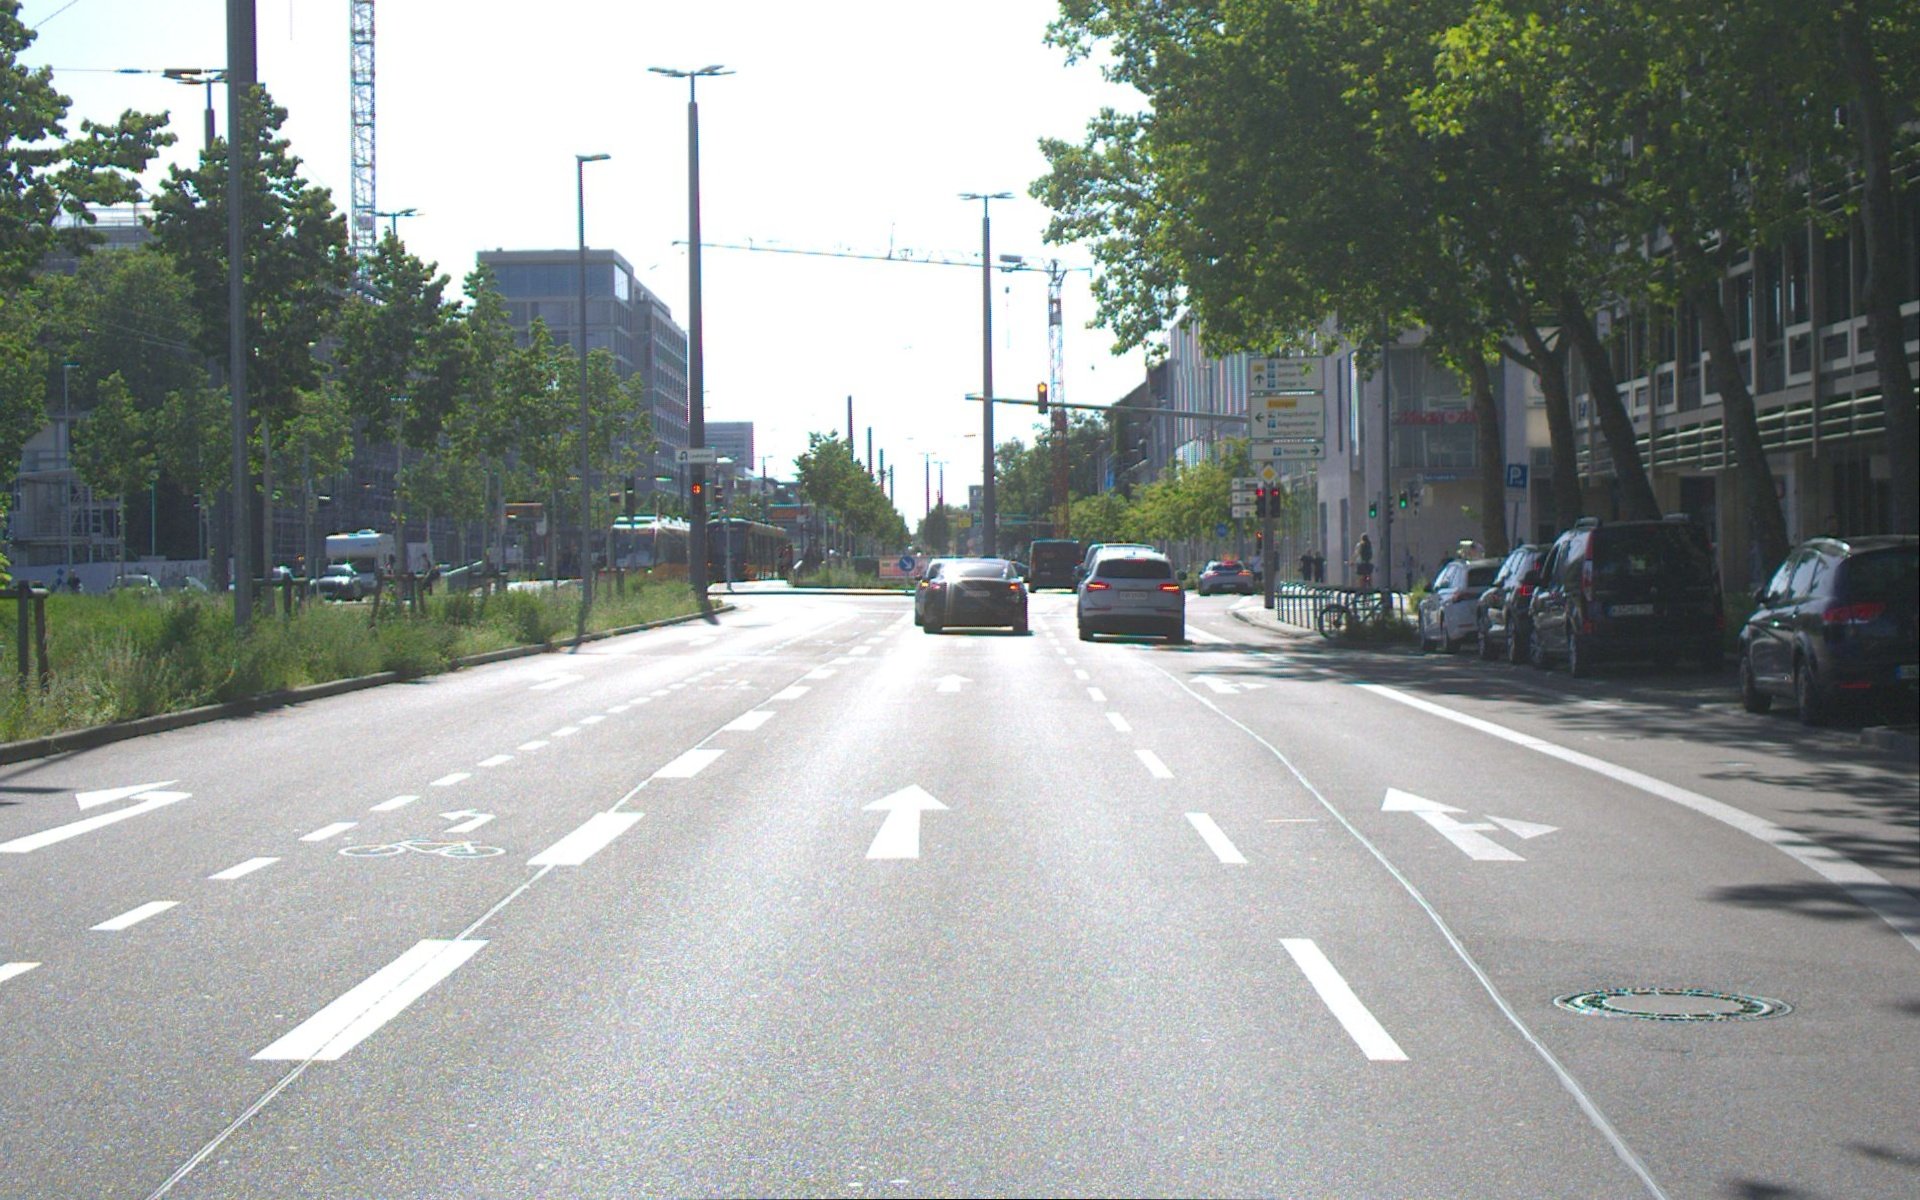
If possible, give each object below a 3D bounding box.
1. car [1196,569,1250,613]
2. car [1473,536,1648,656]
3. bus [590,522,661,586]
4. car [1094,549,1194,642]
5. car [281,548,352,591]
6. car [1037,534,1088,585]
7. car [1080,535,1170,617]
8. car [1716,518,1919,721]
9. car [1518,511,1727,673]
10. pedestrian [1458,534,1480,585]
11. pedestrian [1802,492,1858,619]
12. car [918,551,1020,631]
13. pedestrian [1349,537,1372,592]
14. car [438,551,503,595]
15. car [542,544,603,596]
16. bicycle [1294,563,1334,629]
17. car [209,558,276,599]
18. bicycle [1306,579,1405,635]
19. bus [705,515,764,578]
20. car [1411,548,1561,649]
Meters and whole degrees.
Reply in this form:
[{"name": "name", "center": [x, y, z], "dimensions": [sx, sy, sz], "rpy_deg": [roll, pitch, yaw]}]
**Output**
[{"name": "car", "center": [10.103, -0.332, 132.207], "dimensions": [1.662, 1.644, 3.701], "rpy_deg": [1, 0, -1]}, {"name": "car", "center": [8.150, -0.076, 46.935], "dimensions": [1.704, 1.558, 4.192], "rpy_deg": [0, 1, 1]}, {"name": "bus", "center": [-15.360, -2.096, 158.465], "dimensions": [2.627, 2.773, 8.845], "rpy_deg": [2, 0, -2]}, {"name": "car", "center": [3.296, -0.114, 62.159], "dimensions": [1.721, 1.612, 4.186], "rpy_deg": [0, 1, 2]}, {"name": "car", "center": [-18.385, -0.869, 98.295], "dimensions": [1.376, 1.174, 3.220], "rpy_deg": [1, 0, 0]}, {"name": "car", "center": [4.241, -1.676, 142.206], "dimensions": [1.993, 2.007, 4.000], "rpy_deg": [1, 0, 1]}, {"name": "car", "center": [3.648, -0.558, 76.487], "dimensions": [1.721, 1.776, 4.186], "rpy_deg": [0, 1, -1]}, {"name": "car", "center": [7.880, 0.111, 30.071], "dimensions": [1.704, 1.637, 4.636], "rpy_deg": [0, 1, 3]}, {"name": "car", "center": [7.947, -0.130, 41.575], "dimensions": [1.704, 1.784, 4.192], "rpy_deg": [-2, 1, 1]}, {"name": "pedestrian", "center": [14.410, -1.150, 97.307], "dimensions": [0.562, 1.436, 0.631], "rpy_deg": [1, 0, 8]}, {"name": "pedestrian", "center": [13.282, -0.677, 52.513], "dimensions": [0.676, 1.910, 0.557], "rpy_deg": [1, 0, 1]}, {"name": "car", "center": [0.166, -0.192, 66.595], "dimensions": [1.912, 1.481, 4.010], "rpy_deg": [0, 1, 0]}, {"name": "pedestrian", "center": [10.587, -0.936, 90.832], "dimensions": [0.562, 1.436, 0.631], "rpy_deg": [1, 0, 8]}, {"name": "car", "center": [-13.921, -0.753, 97.872], "dimensions": [1.376, 1.174, 3.220], "rpy_deg": [1, 0, 0]}, {"name": "car", "center": [-14.219, -1.082, 126.271], "dimensions": [1.896, 1.809, 4.000], "rpy_deg": [2, 0, -2]}, {"name": "bicycle", "center": [7.808, -0.086, 75.984], "dimensions": [0.562, 1.436, 2.576], "rpy_deg": [1, 0, 0]}, {"name": "car", "center": [-28.928, -0.862, 138.775], "dimensions": [1.837, 1.607, 3.895], "rpy_deg": [1, 0, 0]}, {"name": "bicycle", "center": [7.165, 0.122, 62.312], "dimensions": [1.693, 0.954, 0.478], "rpy_deg": [-2, 1, -3]}, {"name": "bus", "center": [-11.442, -2.674, 174.854], "dimensions": [2.627, 2.949, 9.899], "rpy_deg": [2, 0, -2]}, {"name": "car", "center": [8.190, -0.056, 53.869], "dimensions": [1.704, 1.487, 4.600], "rpy_deg": [0, 1, 1]}]
